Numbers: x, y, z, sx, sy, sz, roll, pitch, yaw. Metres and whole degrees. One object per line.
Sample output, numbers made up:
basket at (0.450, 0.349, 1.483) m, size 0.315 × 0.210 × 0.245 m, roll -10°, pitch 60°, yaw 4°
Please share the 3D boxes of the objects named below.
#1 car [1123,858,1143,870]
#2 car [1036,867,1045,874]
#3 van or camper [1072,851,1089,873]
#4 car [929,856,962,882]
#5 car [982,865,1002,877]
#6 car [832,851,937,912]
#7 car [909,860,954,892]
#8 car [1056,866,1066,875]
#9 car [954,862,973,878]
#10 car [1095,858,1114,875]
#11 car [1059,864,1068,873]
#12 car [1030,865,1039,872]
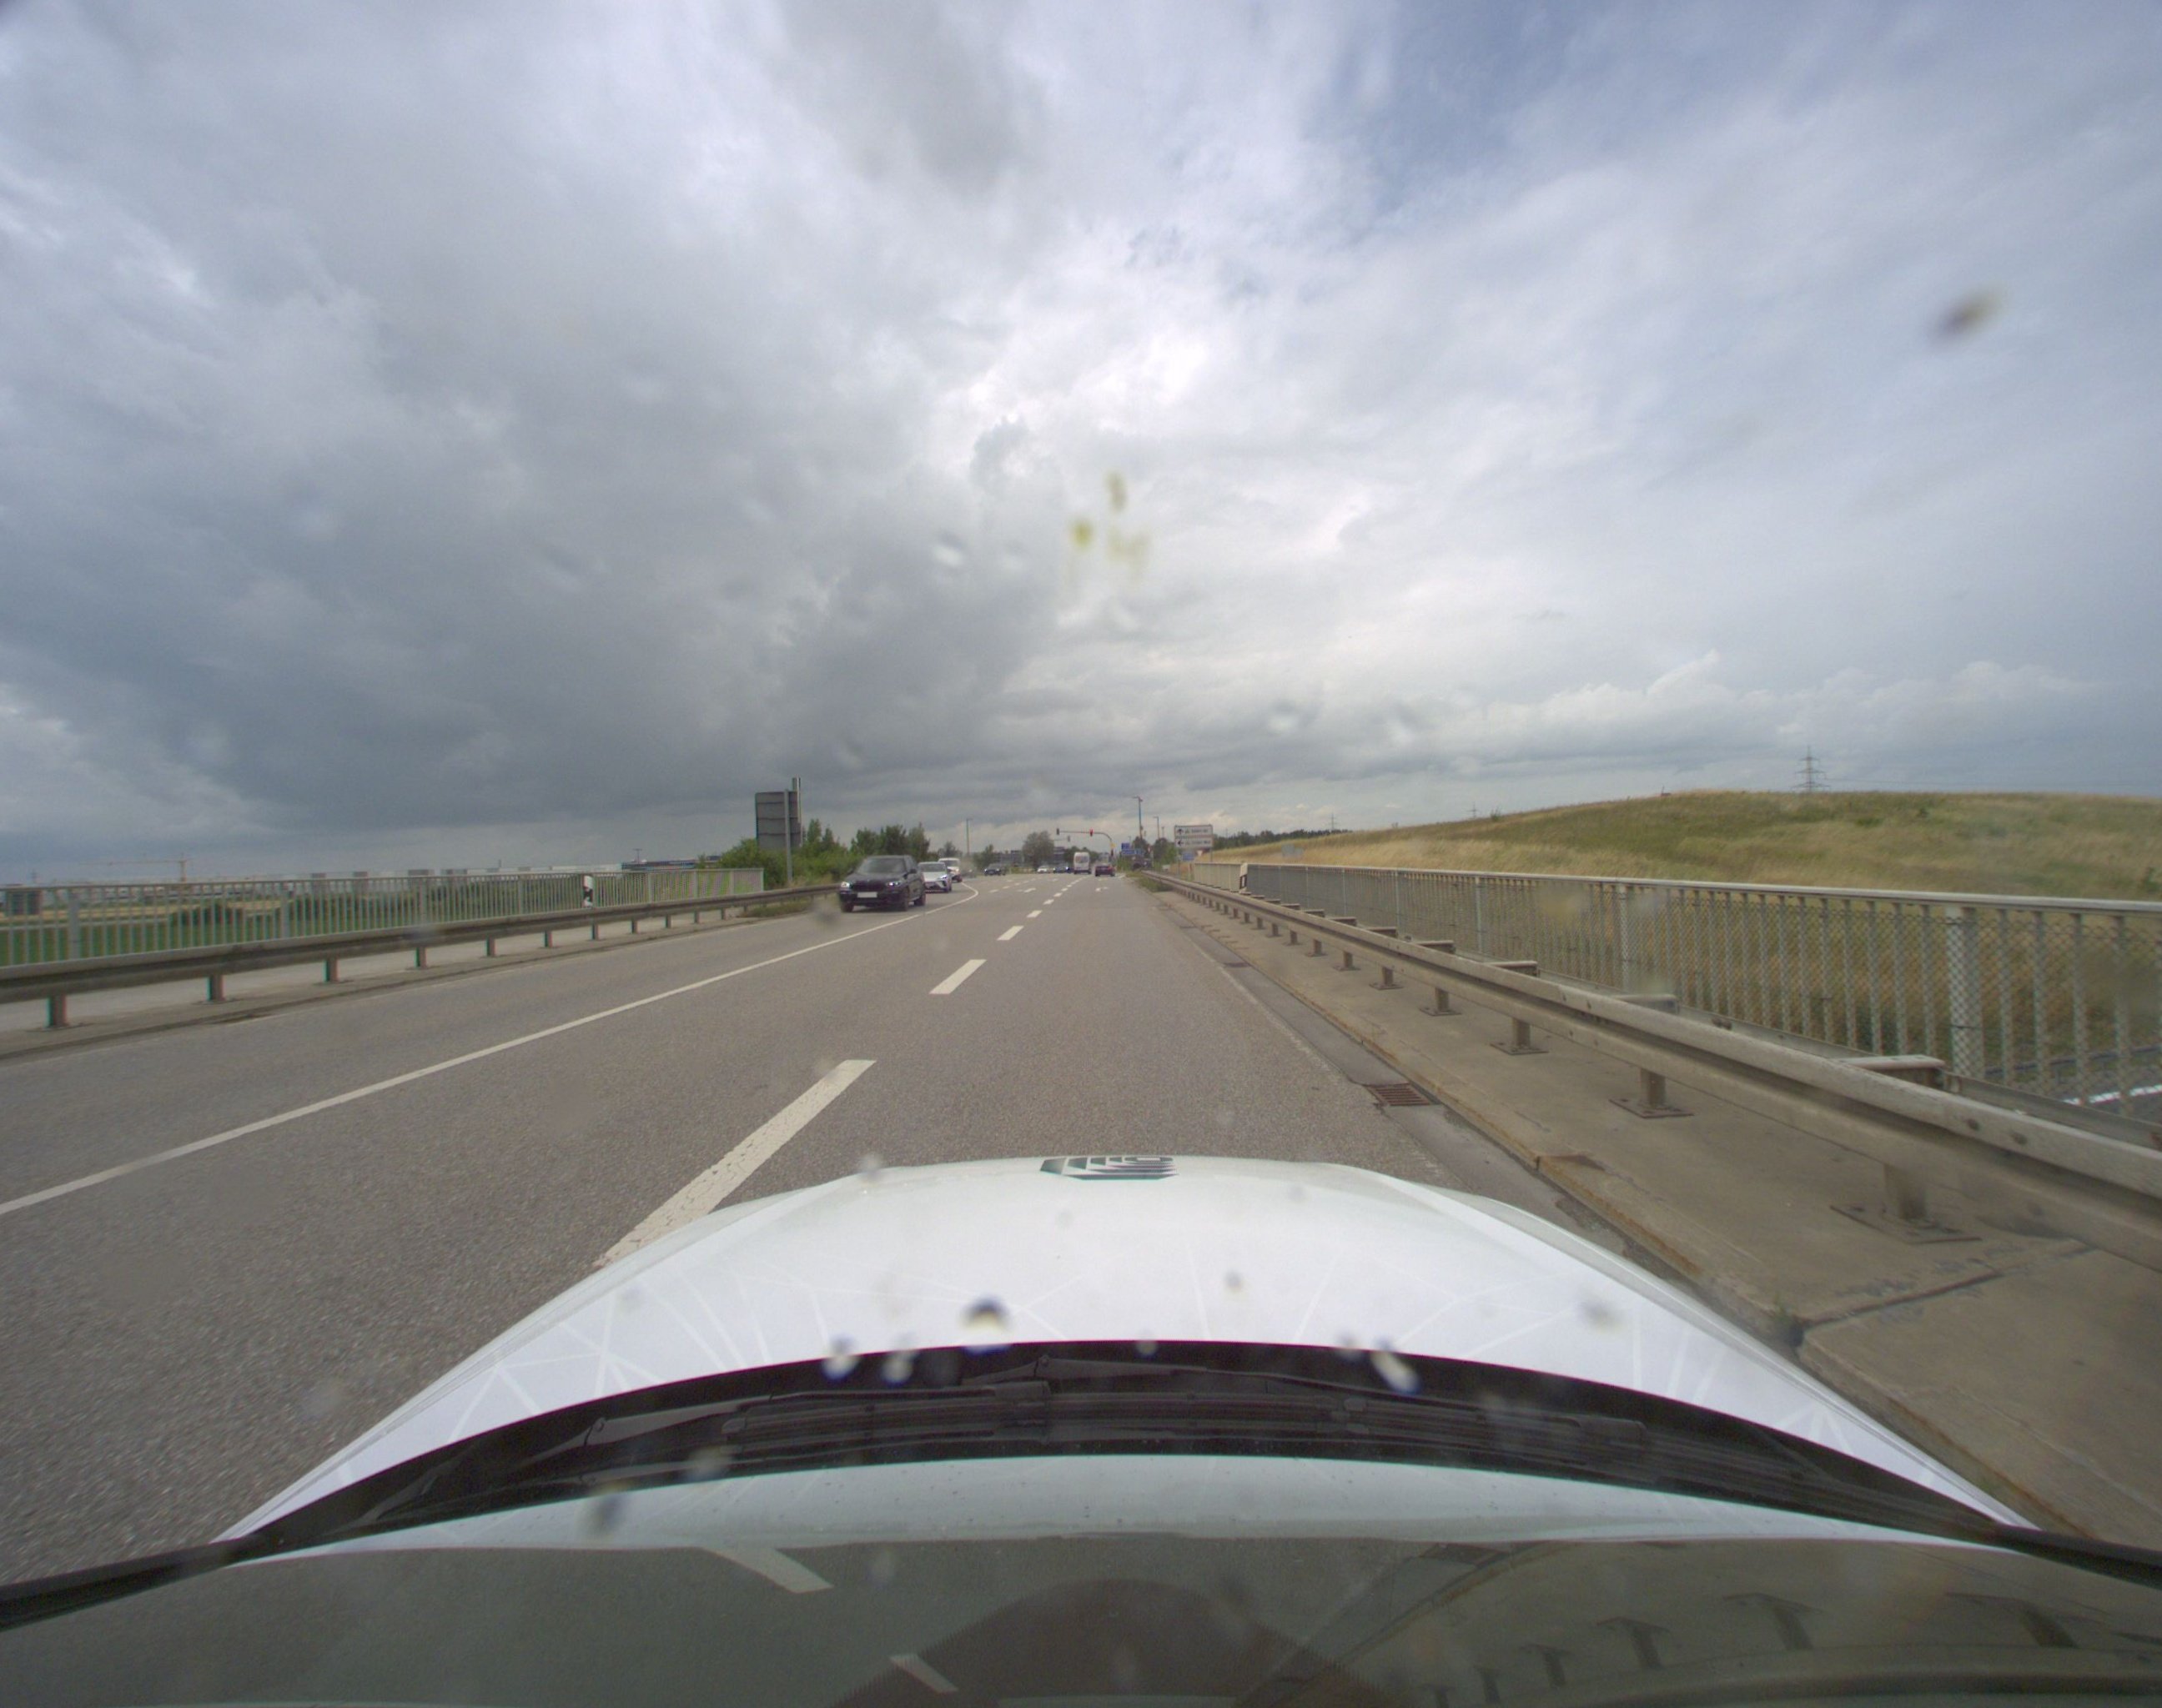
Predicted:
car at (6.710, 1.254, 104.532) m, size 1.668 × 1.544 × 3.632 m, roll -2°, pitch -1°, yaw 18°
car at (-7.793, 3.192, 157.484) m, size 1.475 × 1.282 × 3.535 m, roll -2°, pitch -1°, yaw 2°
van or camper at (-0.009, 0.925, 97.887) m, size 1.869 × 2.581 × 4.001 m, roll 0°, pitch -1°, yaw 1°
car at (-10.043, 1.112, 60.618) m, size 1.950 × 1.875 × 4.812 m, roll -1°, pitch -1°, yaw -4°
car at (-10.590, 2.041, 97.424) m, size 1.803 × 1.368 × 4.784 m, roll -2°, pitch -1°, yaw 0°
car at (-6.148, 0.837, 26.150) m, size 1.985 × 1.732 × 4.765 m, roll -1°, pitch -1°, yaw 3°
car at (-7.273, 1.060, 39.933) m, size 1.708 × 1.487 × 4.272 m, roll -1°, pitch -1°, yaw -4°
car at (-3.665, 3.071, 149.568) m, size 1.688 × 1.368 × 3.943 m, roll -1°, pitch 3°, yaw 0°
car at (-11.511, 1.563, 79.989) m, size 1.579 × 1.557 × 4.139 m, roll -1°, pitch -1°, yaw -4°
car at (2.178, 1.180, 76.018) m, size 1.511 × 1.485 × 3.620 m, roll -2°, pitch -1°, yaw 5°
car at (-3.322, 2.796, 158.598) m, size 1.688 × 1.368 × 3.943 m, roll -1°, pitch 3°, yaw 0°
car at (-9.408, 2.944, 165.330) m, size 1.475 × 1.282 × 3.535 m, roll -2°, pitch -1°, yaw 2°
